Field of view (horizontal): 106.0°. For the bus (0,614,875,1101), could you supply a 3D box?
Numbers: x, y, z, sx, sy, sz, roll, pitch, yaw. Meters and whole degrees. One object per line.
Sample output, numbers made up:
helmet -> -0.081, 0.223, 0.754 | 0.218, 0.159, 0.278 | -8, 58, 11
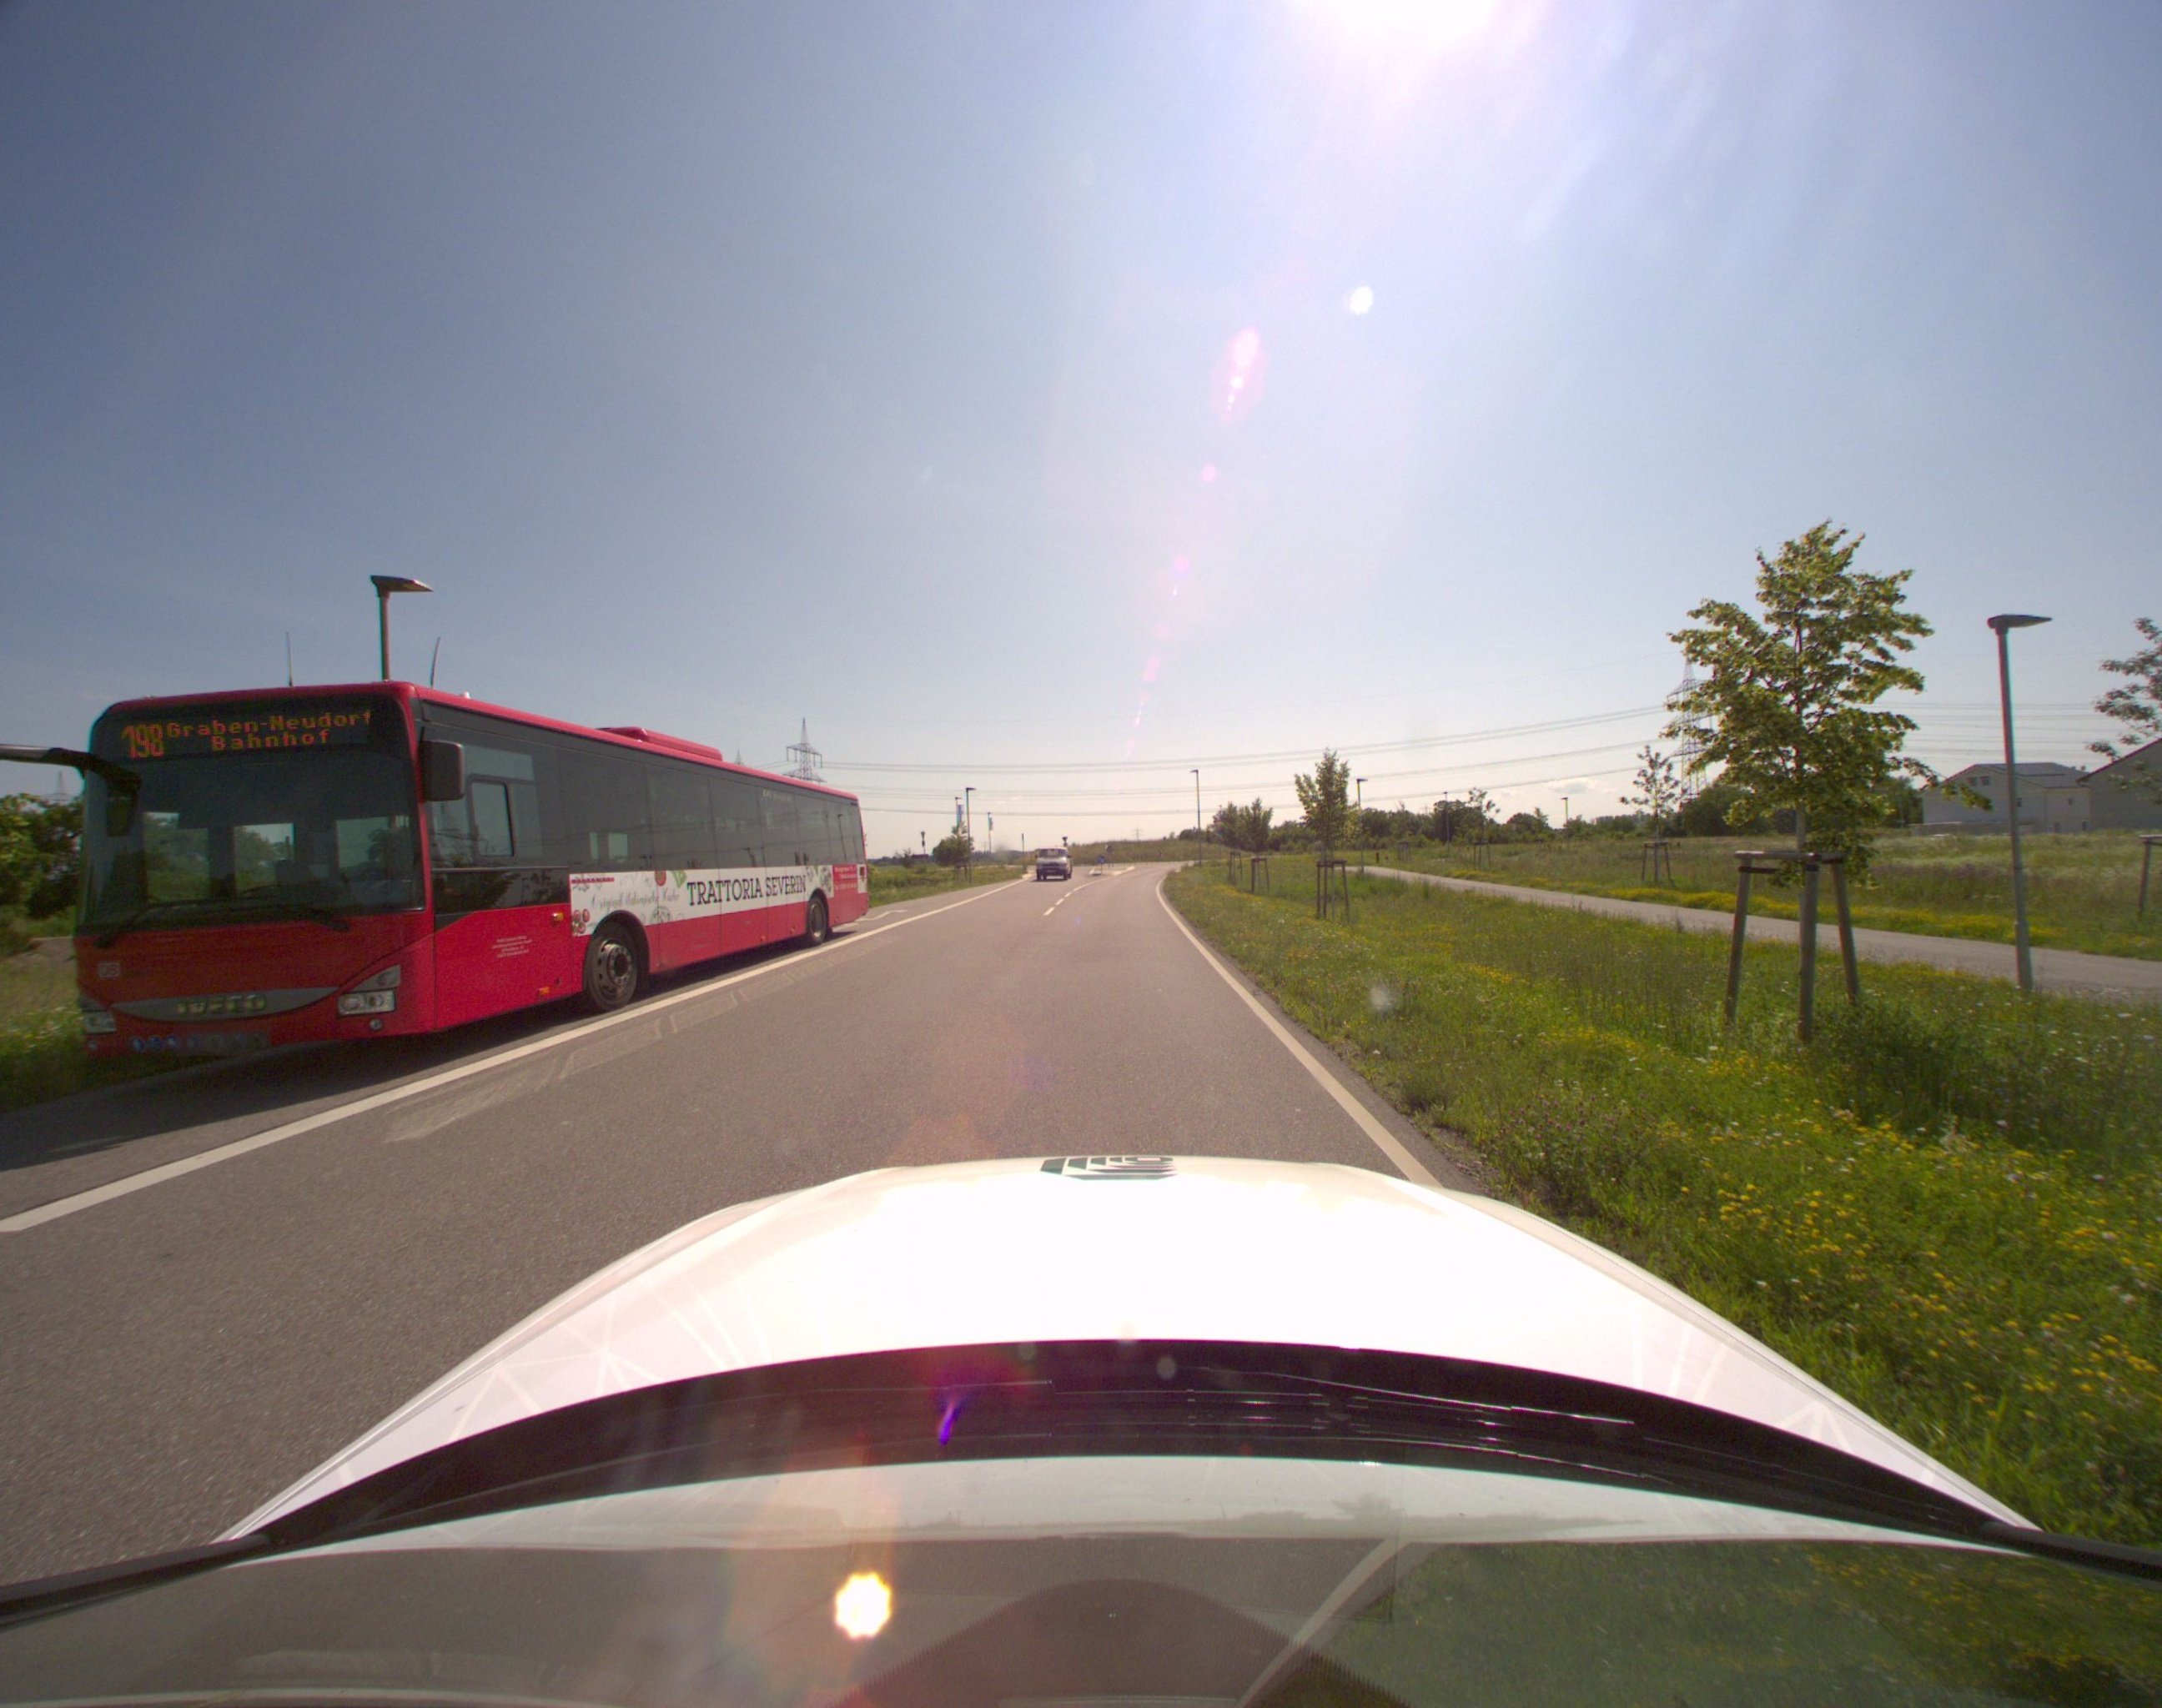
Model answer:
bus -> -6.123, 0.011, 11.877 | 2.784, 3.287, 12.230 | -3, 0, 1

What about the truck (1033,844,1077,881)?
truck -> -1.486, 0.457, 48.980 | 1.942, 1.984, 5.652 | -3, 0, 5
